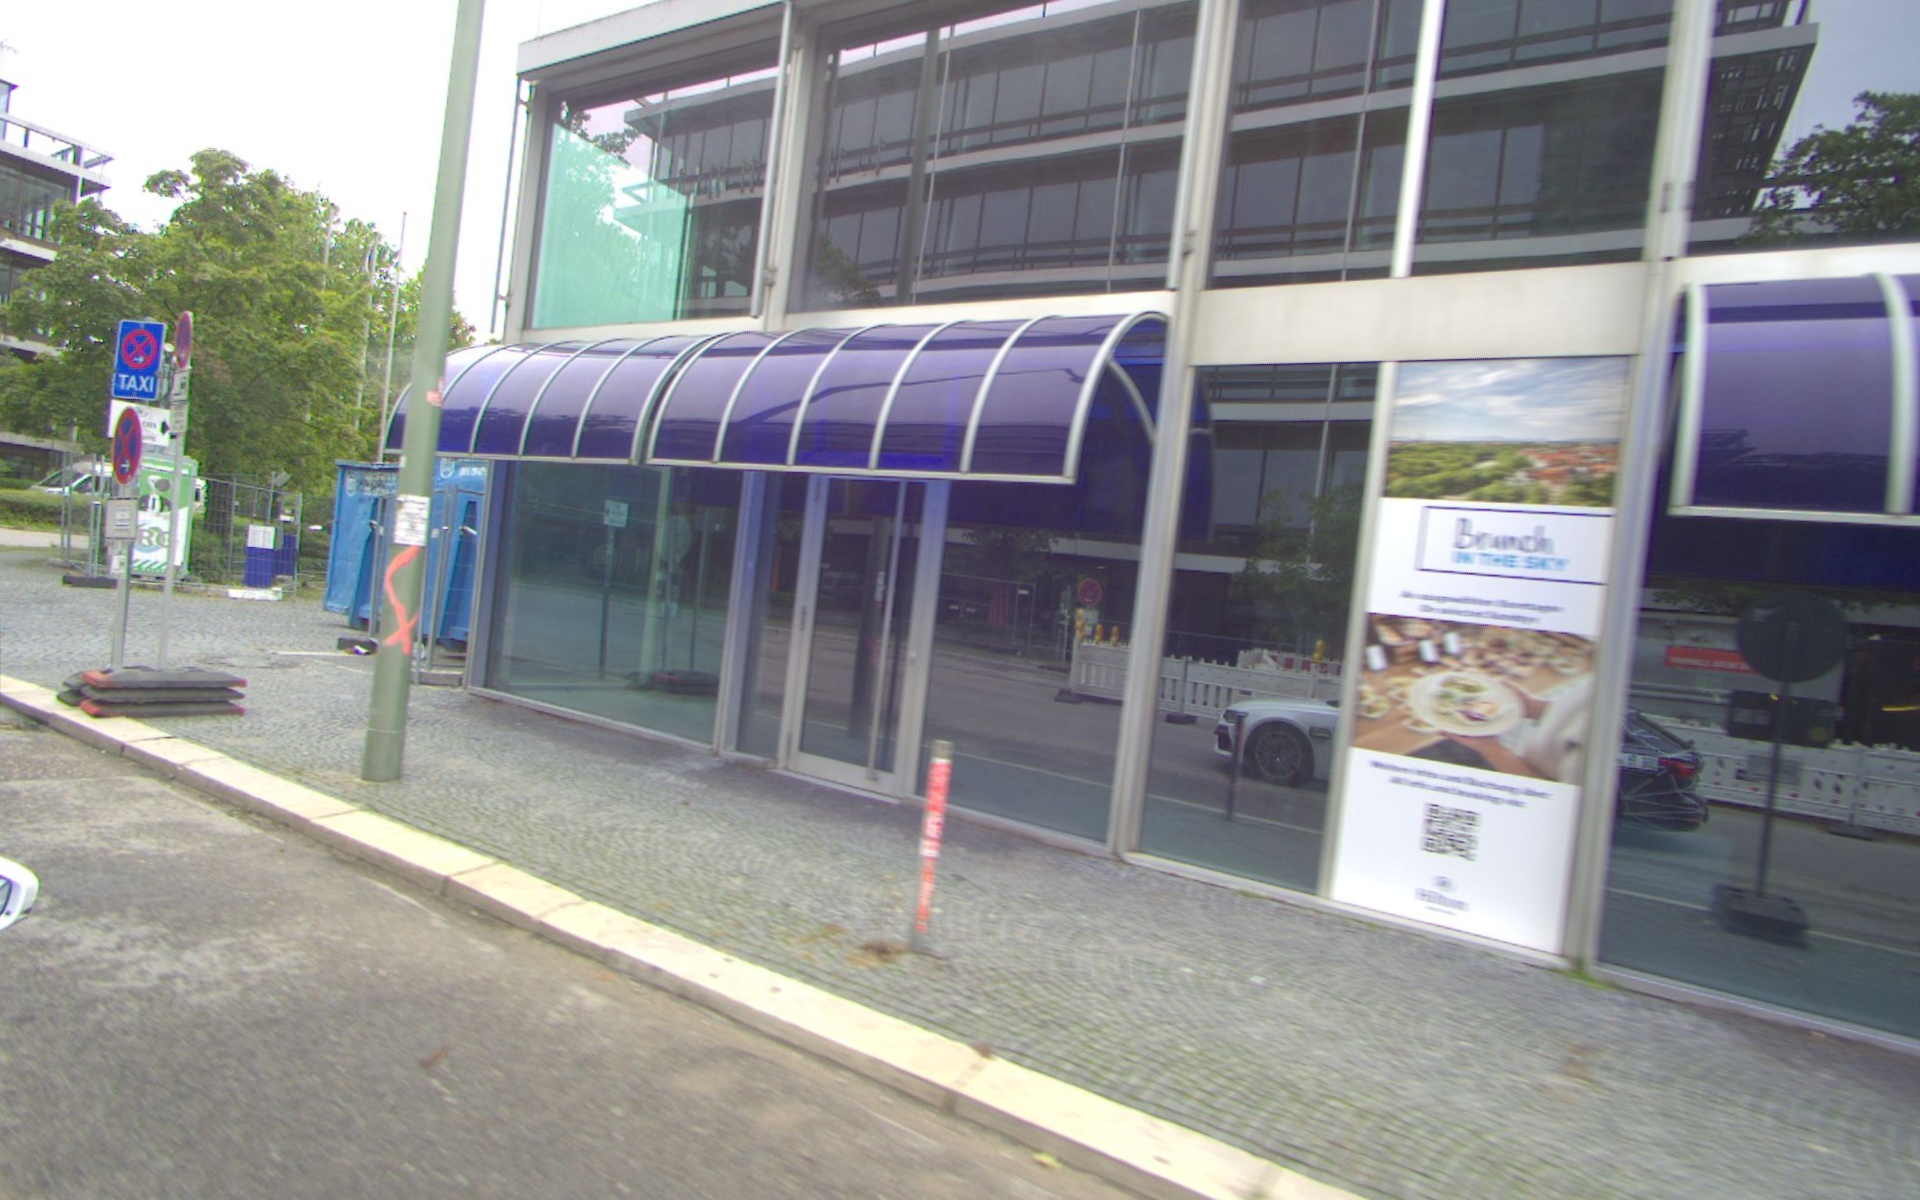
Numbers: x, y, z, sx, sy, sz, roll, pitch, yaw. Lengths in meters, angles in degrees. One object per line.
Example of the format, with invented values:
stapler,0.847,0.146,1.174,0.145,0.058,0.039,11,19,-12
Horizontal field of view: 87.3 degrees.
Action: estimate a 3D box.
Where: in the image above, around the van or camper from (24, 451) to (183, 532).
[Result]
van or camper,-35.995,-4.508,42.432,2.069,2.617,4.464,7,0,21
